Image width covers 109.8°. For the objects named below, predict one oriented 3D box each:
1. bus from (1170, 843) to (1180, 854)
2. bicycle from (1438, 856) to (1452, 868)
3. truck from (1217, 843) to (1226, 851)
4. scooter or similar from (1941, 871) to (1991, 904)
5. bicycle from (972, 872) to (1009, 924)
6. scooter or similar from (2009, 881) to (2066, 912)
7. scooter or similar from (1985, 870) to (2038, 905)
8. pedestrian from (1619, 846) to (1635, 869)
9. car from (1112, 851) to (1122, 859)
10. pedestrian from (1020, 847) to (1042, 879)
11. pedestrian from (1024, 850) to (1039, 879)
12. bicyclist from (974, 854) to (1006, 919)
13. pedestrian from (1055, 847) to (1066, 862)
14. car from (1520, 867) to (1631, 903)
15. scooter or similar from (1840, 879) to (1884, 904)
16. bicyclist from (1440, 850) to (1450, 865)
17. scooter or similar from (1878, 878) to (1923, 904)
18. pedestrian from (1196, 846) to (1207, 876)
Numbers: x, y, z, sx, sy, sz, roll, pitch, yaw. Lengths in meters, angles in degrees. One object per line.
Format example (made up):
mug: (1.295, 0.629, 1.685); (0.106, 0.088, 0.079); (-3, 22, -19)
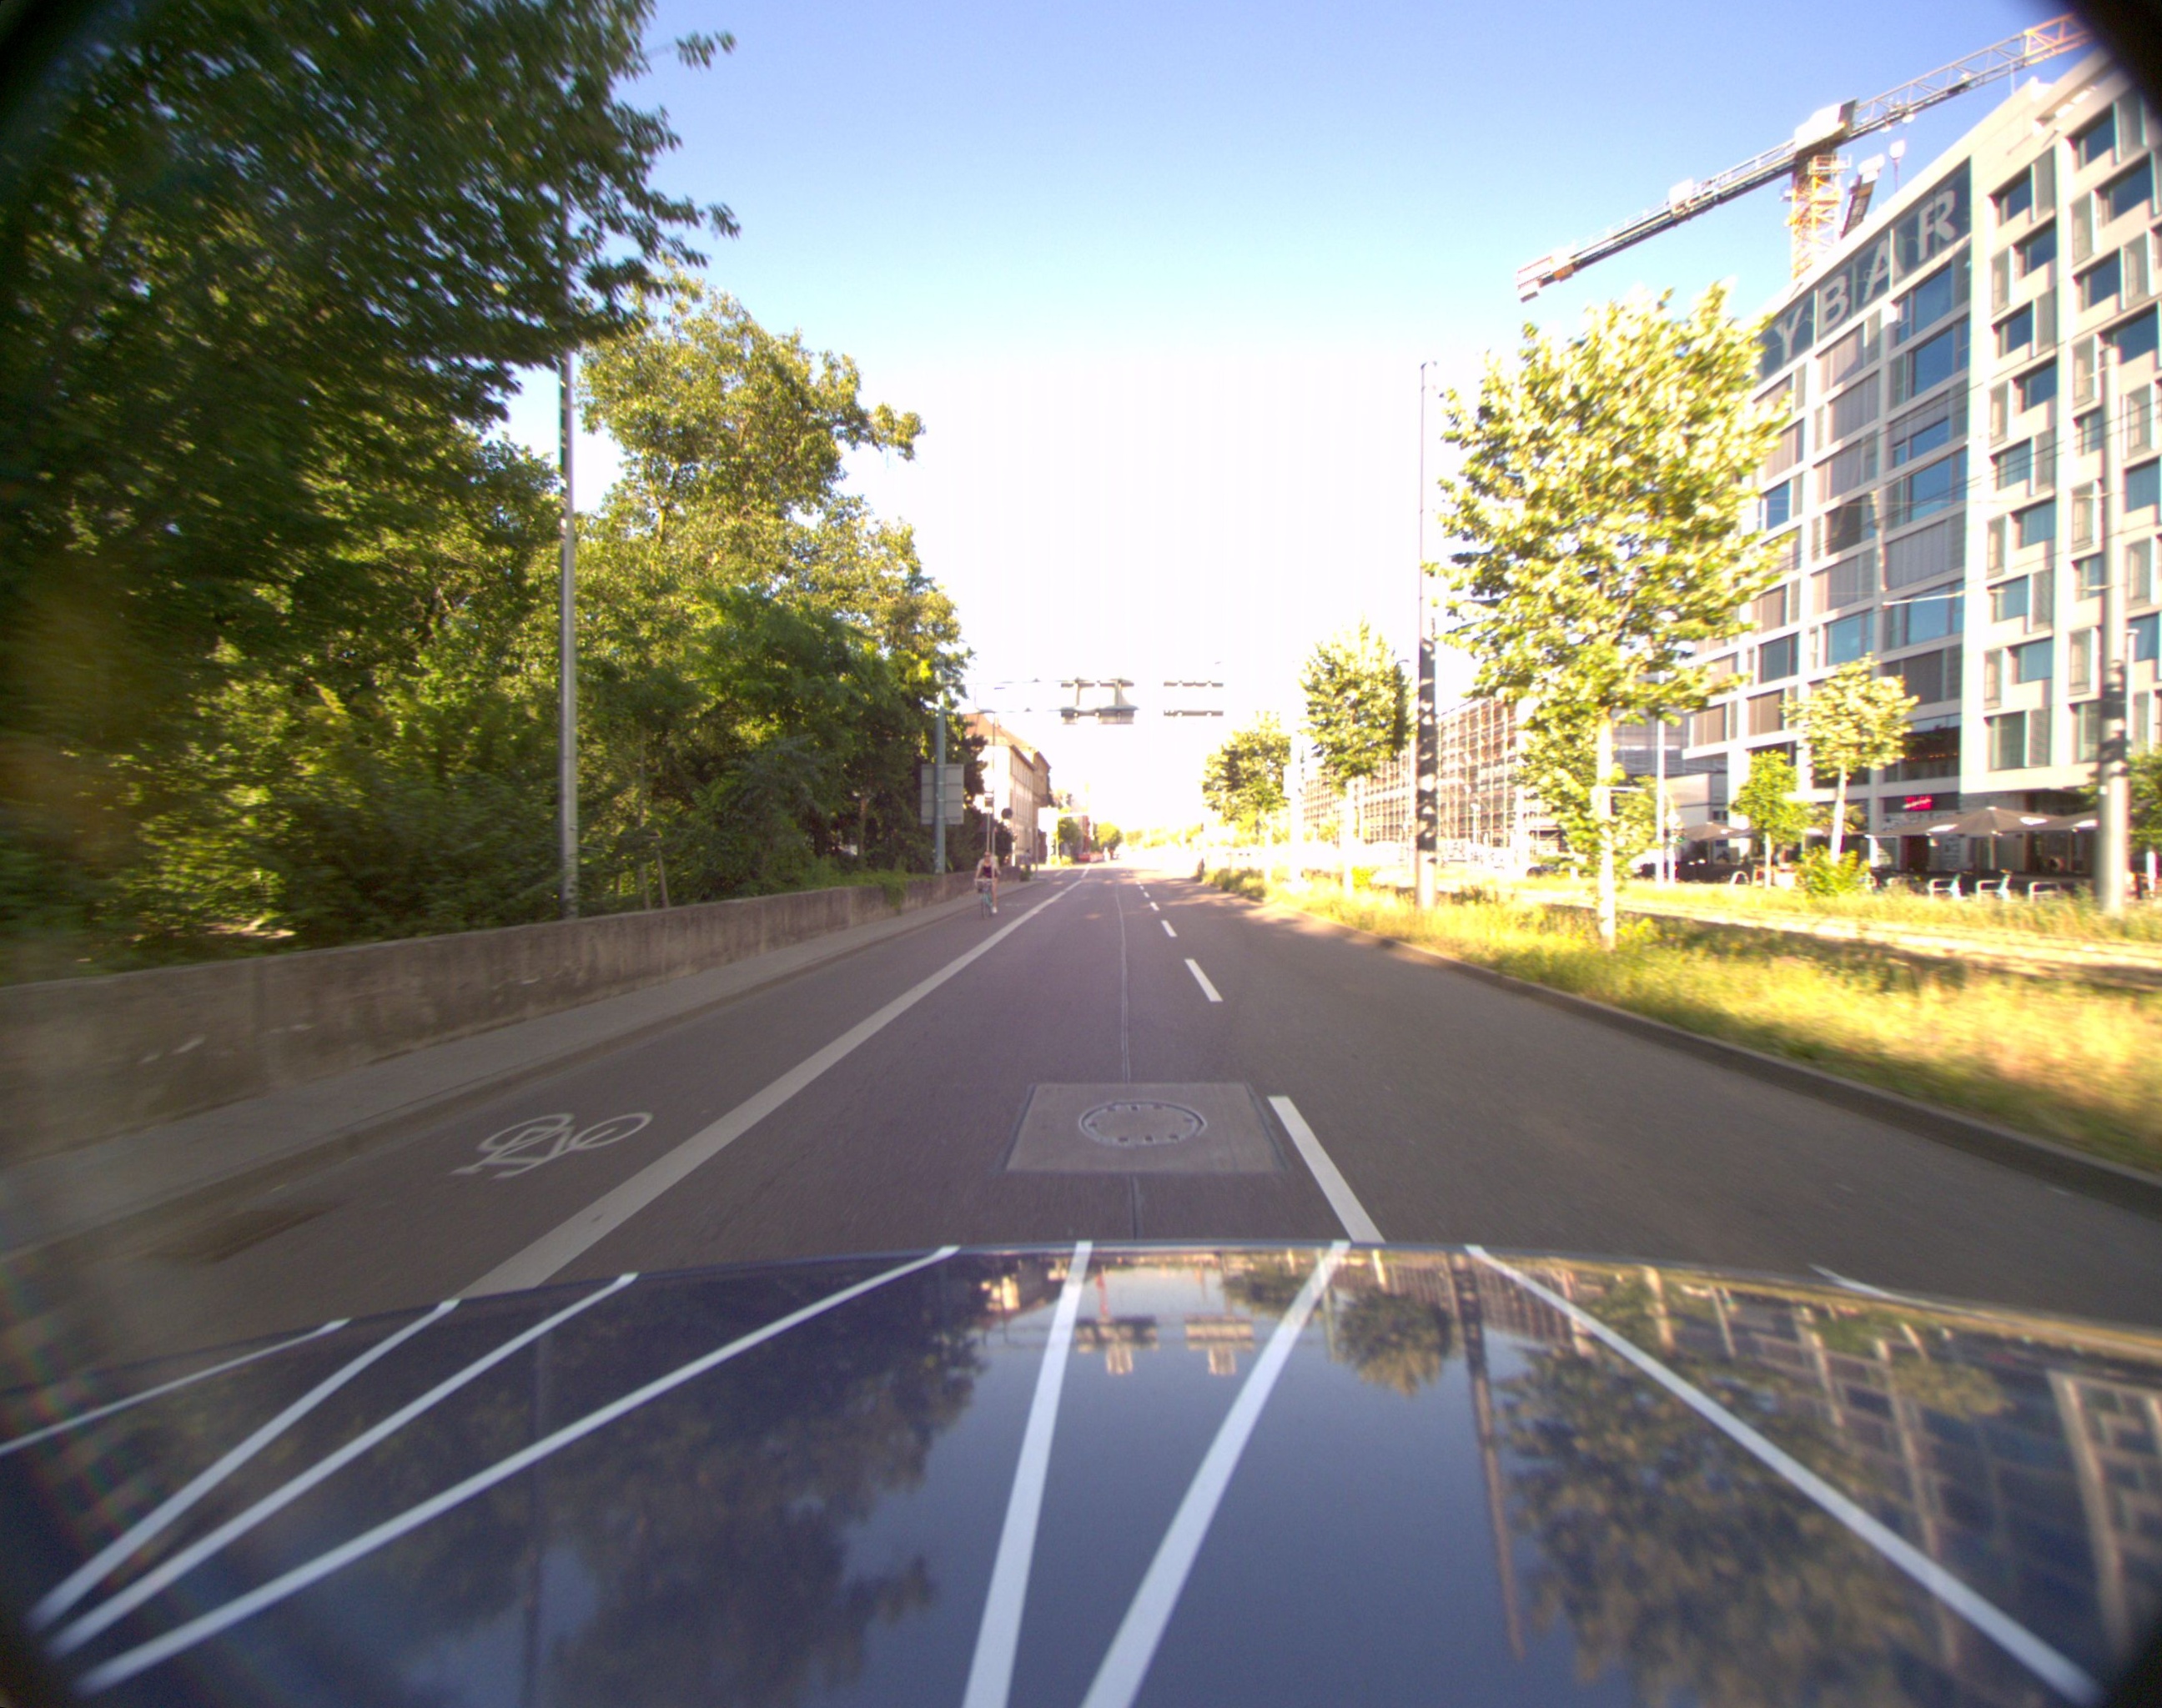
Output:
bus: (27.571, -1.626, 222.277); (2.722, 3.203, 8.660); (1, 0, 7)
bicycle: (35.813, 0.788, 74.803); (0.626, 1.061, 2.079); (1, 1, 9)
truck: (43.195, -2.188, 233.605); (2.142, 2.559, 4.741); (1, 0, 5)
scooter or similar: (32.525, 1.231, 27.934); (1.246, 1.165, 0.406); (1, 1, 4)
bicycle: (-2.116, 1.004, 17.900); (0.522, 1.091, 1.843); (-2, 0, 3)
scooter or similar: (32.006, 1.421, 25.433); (1.246, 1.013, 0.435); (1, 1, 4)
scooter or similar: (32.408, 1.164, 26.477); (1.246, 1.165, 0.406); (1, 1, 4)
pedestrian: (35.653, 0.201, 49.632); (0.588, 1.490, 0.576); (0, 1, -7)
car: (8.117, 0.285, 171.847); (1.998, 1.696, 4.000); (0, 1, 1)
pedestrian: (-2.876, 0.498, 43.919); (0.861, 1.792, 0.905); (2, 1, -32)
pedestrian: (-2.925, 0.603, 44.582); (0.768, 1.627, 0.769); (2, 1, -7)
bicyclist: (-2.138, 0.742, 17.921); (0.553, 1.482, 1.081); (1, 0, 3)
pedestrian: (-2.197, 0.053, 80.787); (0.924, 1.639, 0.767); (1, 1, 38)
car: (21.655, 1.310, 33.544); (1.895, 1.336, 4.851); (0, 0, 2)
scooter or similar: (32.369, 1.549, 31.497); (1.246, 1.013, 0.511); (1, 1, 4)
bicyclist: (35.813, 0.370, 74.777); (0.626, 1.456, 0.851); (1, 1, 9)
scooter or similar: (32.317, 1.452, 29.969); (1.246, 1.013, 0.435); (1, 1, 4)
pedestrian: (6.771, 0.401, 42.824); (0.599, 1.689, 0.714); (1, 1, 8)
